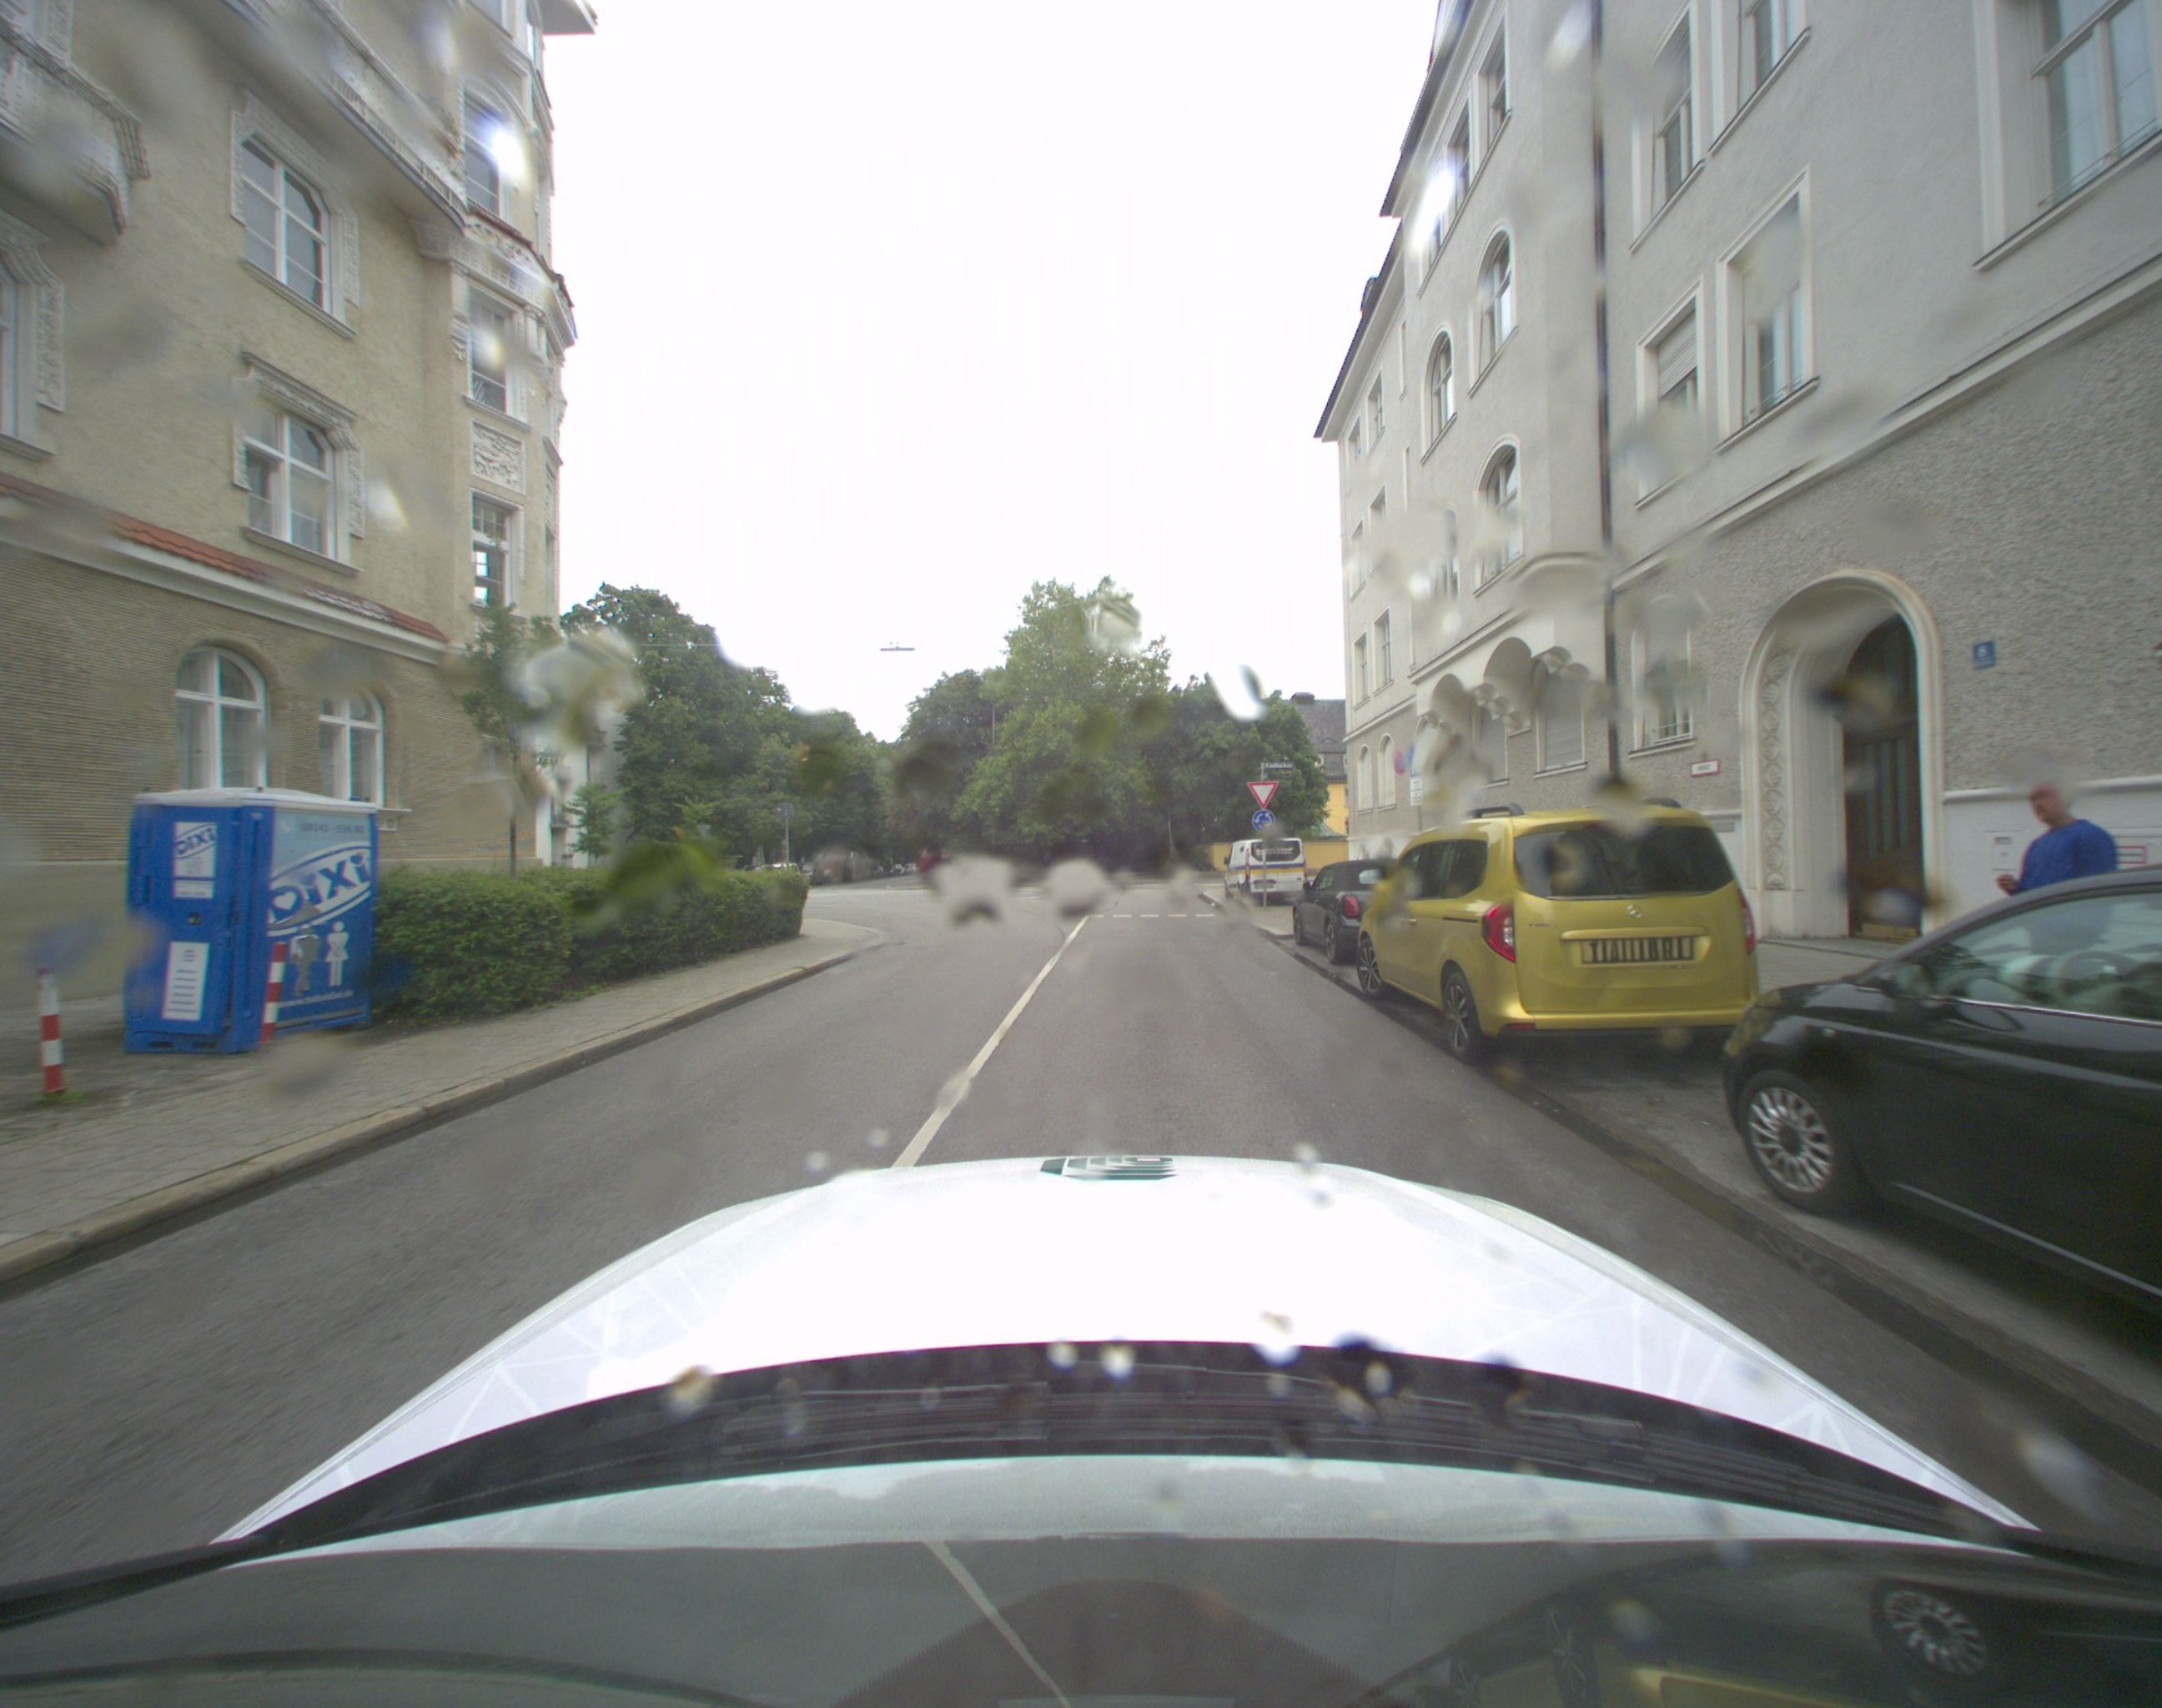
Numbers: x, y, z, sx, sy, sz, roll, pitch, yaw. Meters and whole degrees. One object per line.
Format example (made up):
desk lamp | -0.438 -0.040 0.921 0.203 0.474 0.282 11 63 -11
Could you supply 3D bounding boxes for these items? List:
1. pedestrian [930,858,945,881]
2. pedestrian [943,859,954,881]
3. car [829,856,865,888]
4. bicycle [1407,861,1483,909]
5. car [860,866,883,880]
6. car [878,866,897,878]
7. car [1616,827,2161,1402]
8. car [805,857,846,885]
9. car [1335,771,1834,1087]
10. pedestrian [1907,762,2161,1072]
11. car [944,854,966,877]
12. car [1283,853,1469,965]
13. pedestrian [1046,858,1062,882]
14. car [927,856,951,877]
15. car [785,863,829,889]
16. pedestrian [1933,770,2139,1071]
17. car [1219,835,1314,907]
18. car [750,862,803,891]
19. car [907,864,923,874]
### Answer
pedestrian | -11.425 1.226 64.865 0.825 1.836 0.942 -1 -1 -32
pedestrian | -10.478 1.272 64.557 0.636 1.667 0.691 -1 -1 -27
car | -23.146 1.734 80.883 2.169 3.002 6.222 -2 -1 -5
bicycle | 9.466 0.773 21.345 0.835 1.112 2.760 -5 0 4
car | -23.686 2.156 92.382 1.992 1.420 4.119 -1 0 -7
car | -25.108 2.309 105.683 1.992 1.487 4.119 -1 0 -7
car | 3.673 0.668 2.556 1.626 1.514 3.889 -1 0 4
car | -22.500 1.454 71.994 2.080 2.265 5.594 -3 0 -4
car | 3.808 0.486 7.333 1.983 1.918 4.578 -2 0 6
pedestrian | 5.757 0.356 4.954 0.654 1.729 0.759 -1 0 2
car | -14.609 1.277 94.836 1.990 2.558 5.422 -2 0 -4
car | 4.394 0.747 12.744 1.705 1.445 3.831 -2 0 4
pedestrian | -1.628 0.949 48.839 0.765 1.356 1.133 -1 0 5
car | -13.727 1.208 78.840 1.909 1.937 4.957 -1 -1 -6
car | -21.791 1.699 64.978 2.023 1.908 5.655 -3 0 -6
pedestrian | 5.677 0.382 4.867 0.635 1.702 0.455 -1 -1 2
car | 5.661 0.489 25.548 1.930 1.922 5.378 -3 0 3
car | -21.512 1.553 57.736 2.079 1.903 4.852 -2 0 -3
car | -26.077 2.273 127.994 1.992 1.487 4.119 -1 0 -7
